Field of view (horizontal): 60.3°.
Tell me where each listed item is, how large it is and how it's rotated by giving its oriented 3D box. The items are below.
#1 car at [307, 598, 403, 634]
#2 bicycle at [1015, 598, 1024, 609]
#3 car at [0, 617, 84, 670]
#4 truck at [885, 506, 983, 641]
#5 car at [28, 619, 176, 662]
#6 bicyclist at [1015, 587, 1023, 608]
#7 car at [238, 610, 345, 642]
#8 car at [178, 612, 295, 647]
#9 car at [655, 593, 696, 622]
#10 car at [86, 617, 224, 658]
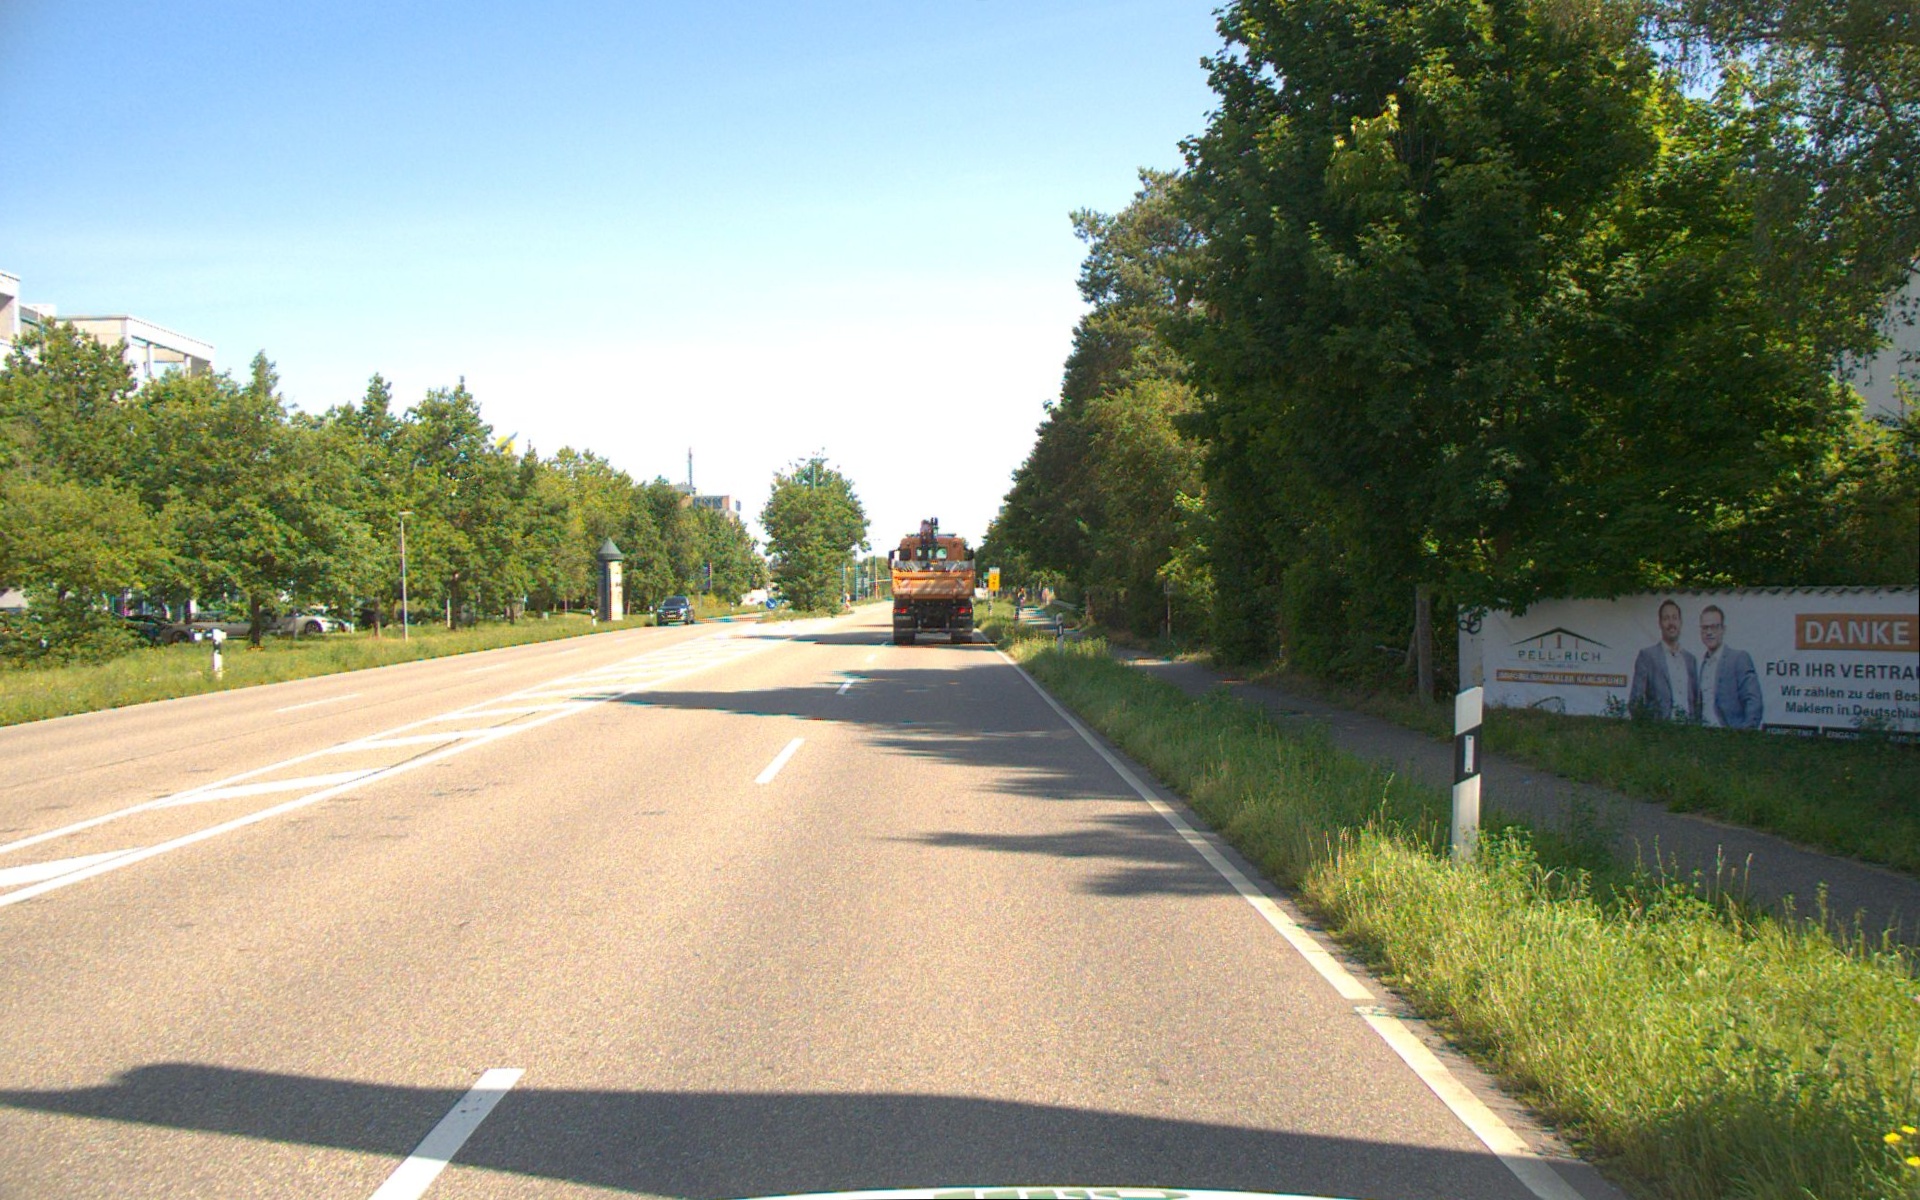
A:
[{"bbox_3d":[-32.898,0.871,90.043,4.439,1.788,2.001,-2,0,2],"label":"car"},{"bbox_3d":[4.504,0.255,125.927,0.547,0.830,1.963,-2,0,-1],"label":"bicycle"},{"bbox_3d":[-32.648,1.508,56.356,4.501,1.679,2.000,-1,0,-1],"label":"car"},{"bbox_3d":[-0.932,-0.806,52.413,2.814,3.948,7.395,1,0,-3],"label":"truck"},{"bbox_3d":[-32.436,1.511,62.643,4.501,1.462,2.000,-1,0,-1],"label":"car"},{"bbox_3d":[4.484,-0.220,125.916,0.547,1.585,0.557,-2,0,-2],"label":"bicyclist"},{"bbox_3d":[-33.655,1.316,83.367,4.501,1.462,2.000,-1,0,-1],"label":"car"},{"bbox_3d":[-33.598,1.360,76.927,4.501,1.462,2.000,-1,0,-1],"label":"car"},{"bbox_3d":[-16.717,0.424,97.298,1.764,1.599,3.999,-2,0,-1],"label":"car"},{"bbox_3d":[-32.221,1.494,66.298,4.501,1.462,2.000,-1,0,-1],"label":"car"}]
